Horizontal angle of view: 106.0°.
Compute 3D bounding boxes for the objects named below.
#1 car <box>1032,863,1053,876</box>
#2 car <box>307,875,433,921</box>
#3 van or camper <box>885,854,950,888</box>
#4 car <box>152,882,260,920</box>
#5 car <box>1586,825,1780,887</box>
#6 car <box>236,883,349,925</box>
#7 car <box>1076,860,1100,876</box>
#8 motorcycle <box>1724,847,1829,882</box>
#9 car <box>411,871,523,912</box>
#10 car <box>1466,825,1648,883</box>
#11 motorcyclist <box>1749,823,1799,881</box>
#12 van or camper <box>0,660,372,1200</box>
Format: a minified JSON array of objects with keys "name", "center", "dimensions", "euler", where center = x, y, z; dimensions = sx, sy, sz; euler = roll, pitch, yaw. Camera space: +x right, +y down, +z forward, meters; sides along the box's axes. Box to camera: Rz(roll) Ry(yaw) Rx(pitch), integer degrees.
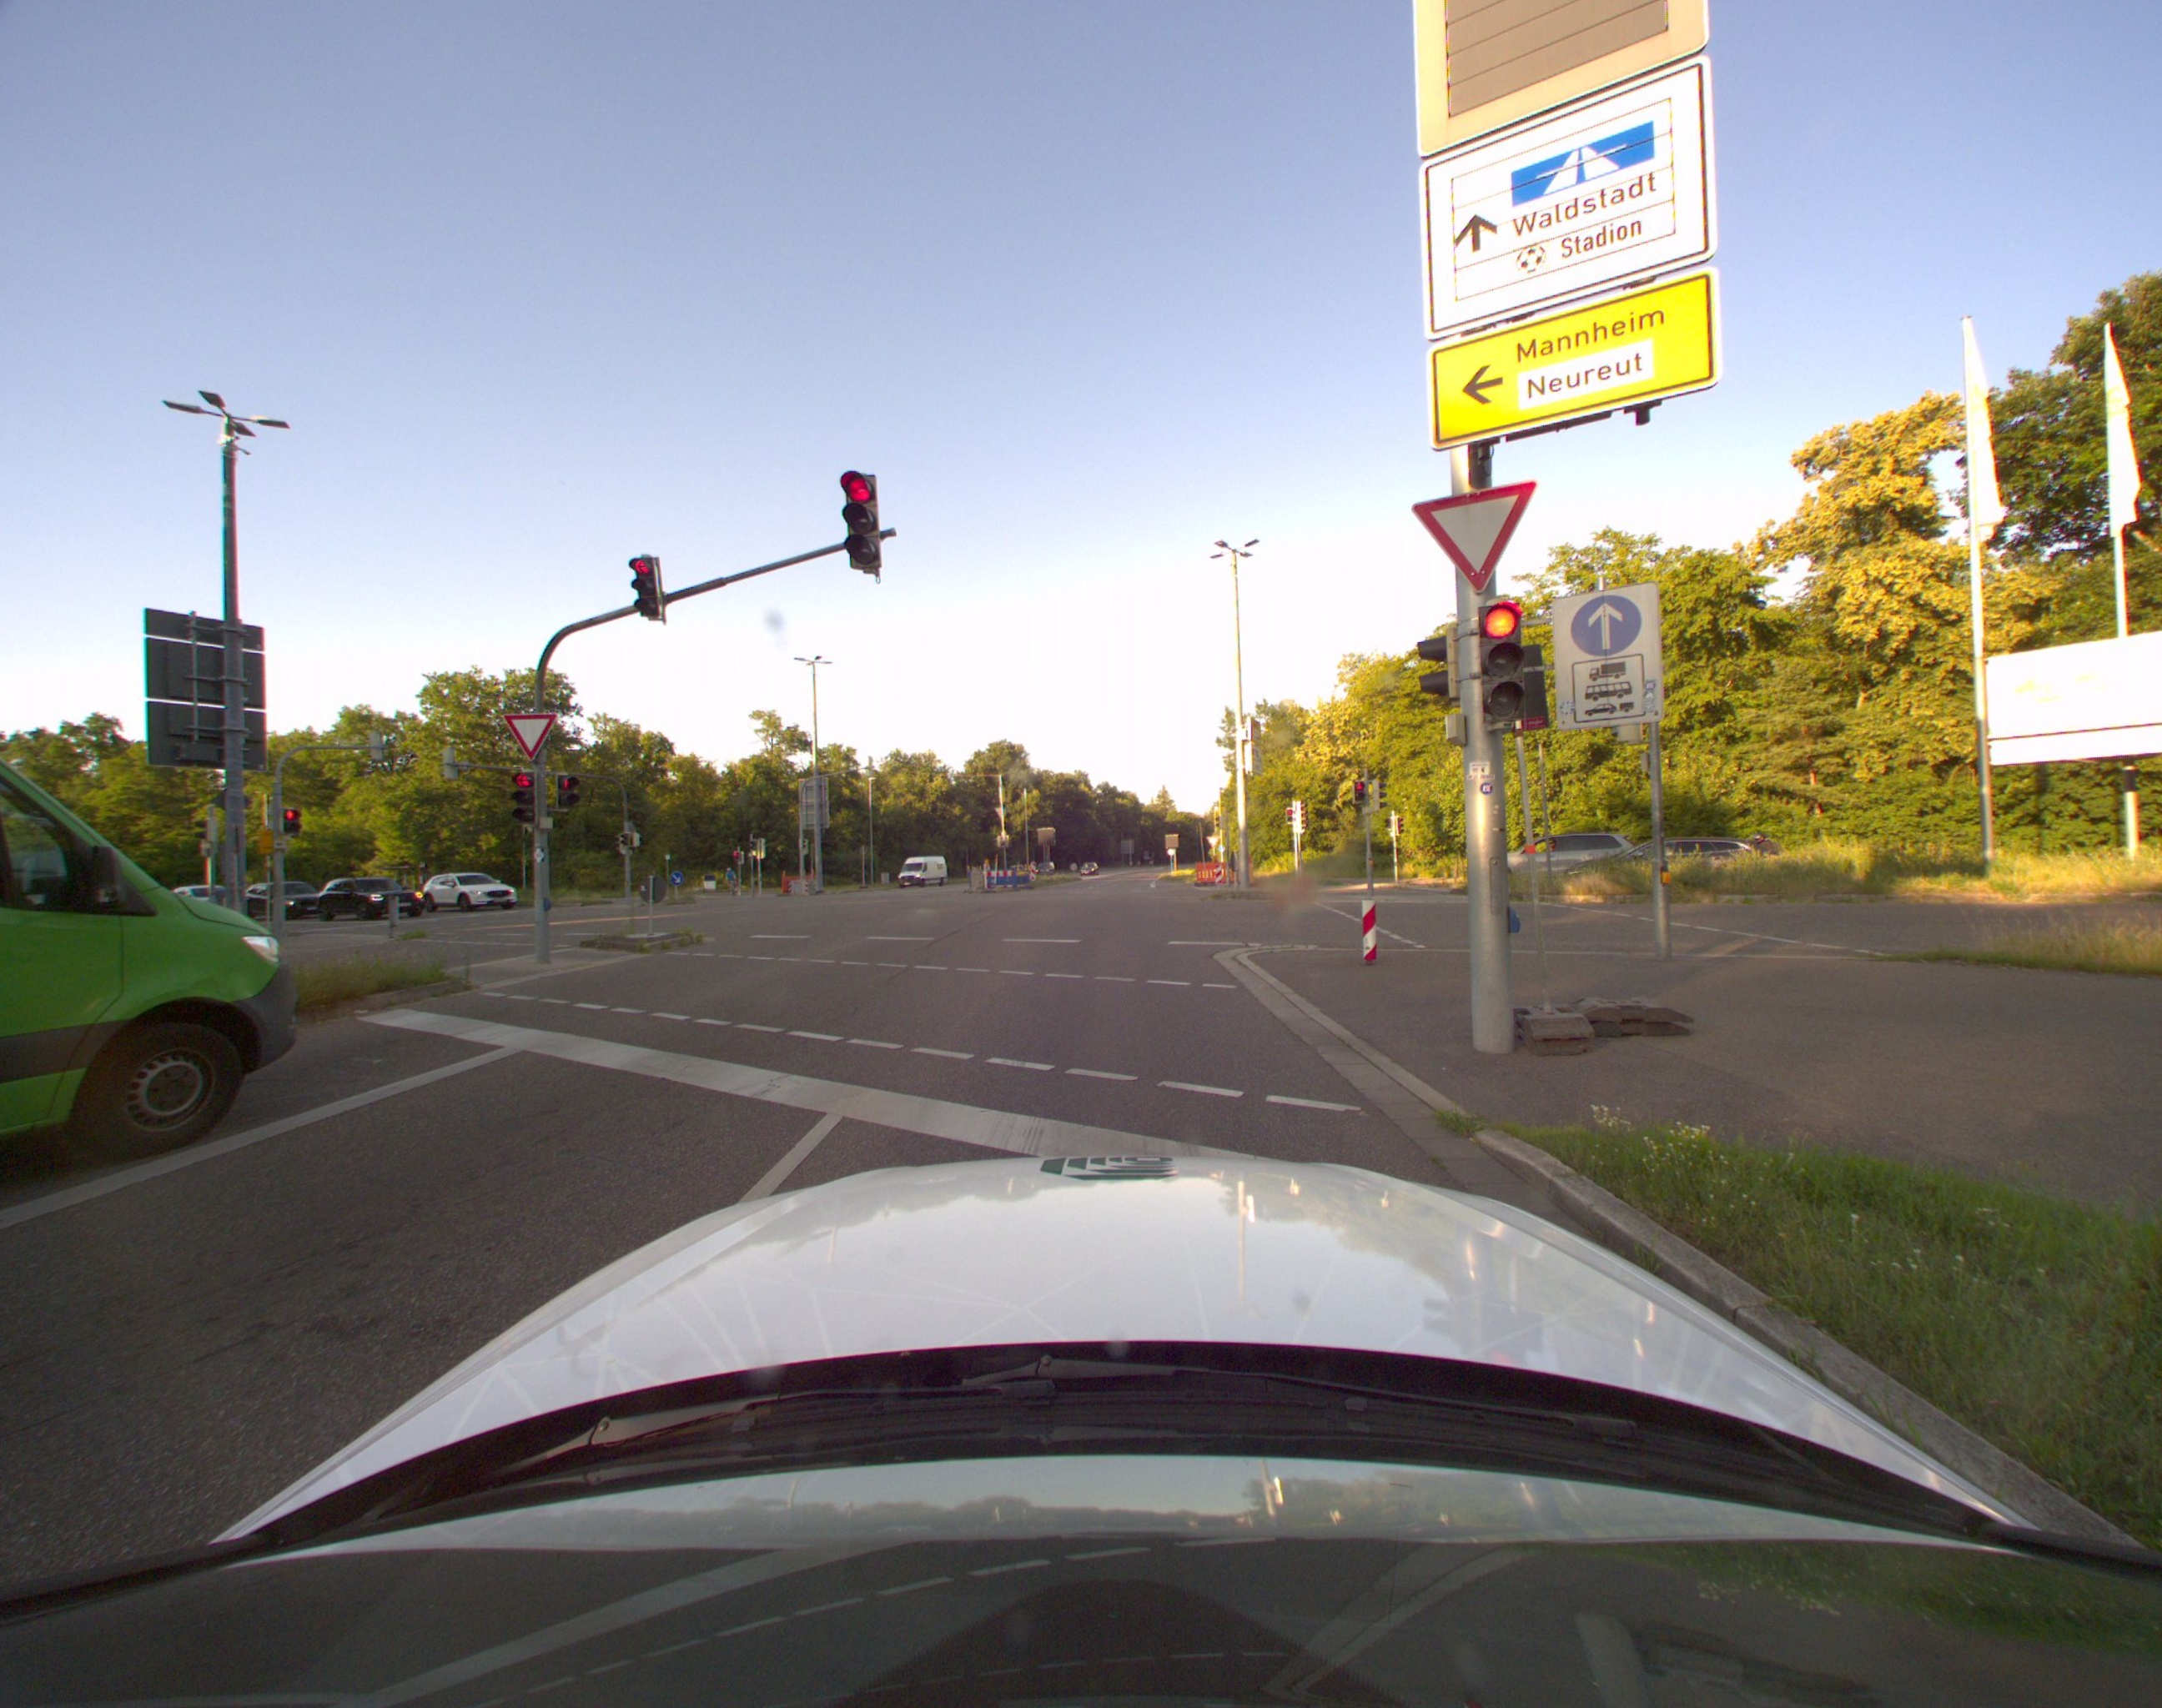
[{"name":"car","center":[-5.498,2.242,117.156],"dimensions":[1.980,1.640,4.014],"euler":[-2,0,13]},{"name":"car","center":[-27.553,1.695,31.566],"dimensions":[4.206,1.640,2.011],"euler":[-2,0,23]},{"name":"van or camper","center":[-13.816,1.408,69.472],"dimensions":[2.867,2.652,7.143],"euler":[-2,0,11]},{"name":"car","center":[-41.281,2.208,38.421],"dimensions":[4.207,1.640,2.011],"euler":[-2,0,21]},{"name":"car","center":[15.816,0.076,21.661],"dimensions":[3.827,1.489,1.781],"euler":[-2,0,24]},{"name":"car","center":[-33.925,2.150,35.042],"dimensions":[4.205,1.640,2.011],"euler":[-2,0,23]},{"name":"car","center":[0.849,1.708,98.911],"dimensions":[1.979,1.640,4.016],"euler":[-3,0,14]},{"name":"motorcycle","center":[19.520,0.290,22.913],"dimensions":[2.125,0.910,0.666],"euler":[-2,-1,23]},{"name":"car","center":[-26.759,1.638,35.506],"dimensions":[4.206,1.640,2.011],"euler":[-2,0,23]},{"name":"car","center":[15.029,0.024,26.080],"dimensions":[4.773,1.598,2.011],"euler":[-2,0,23]},{"name":"motorcyclist","center":[19.482,-0.048,22.921],"dimensions":[0.878,1.595,0.658],"euler":[-2,-1,23]},{"name":"van or camper","center":[-5.861,0.360,2.566],"dimensions":[1.987,2.421,5.896],"euler":[-2,0,1]}]
